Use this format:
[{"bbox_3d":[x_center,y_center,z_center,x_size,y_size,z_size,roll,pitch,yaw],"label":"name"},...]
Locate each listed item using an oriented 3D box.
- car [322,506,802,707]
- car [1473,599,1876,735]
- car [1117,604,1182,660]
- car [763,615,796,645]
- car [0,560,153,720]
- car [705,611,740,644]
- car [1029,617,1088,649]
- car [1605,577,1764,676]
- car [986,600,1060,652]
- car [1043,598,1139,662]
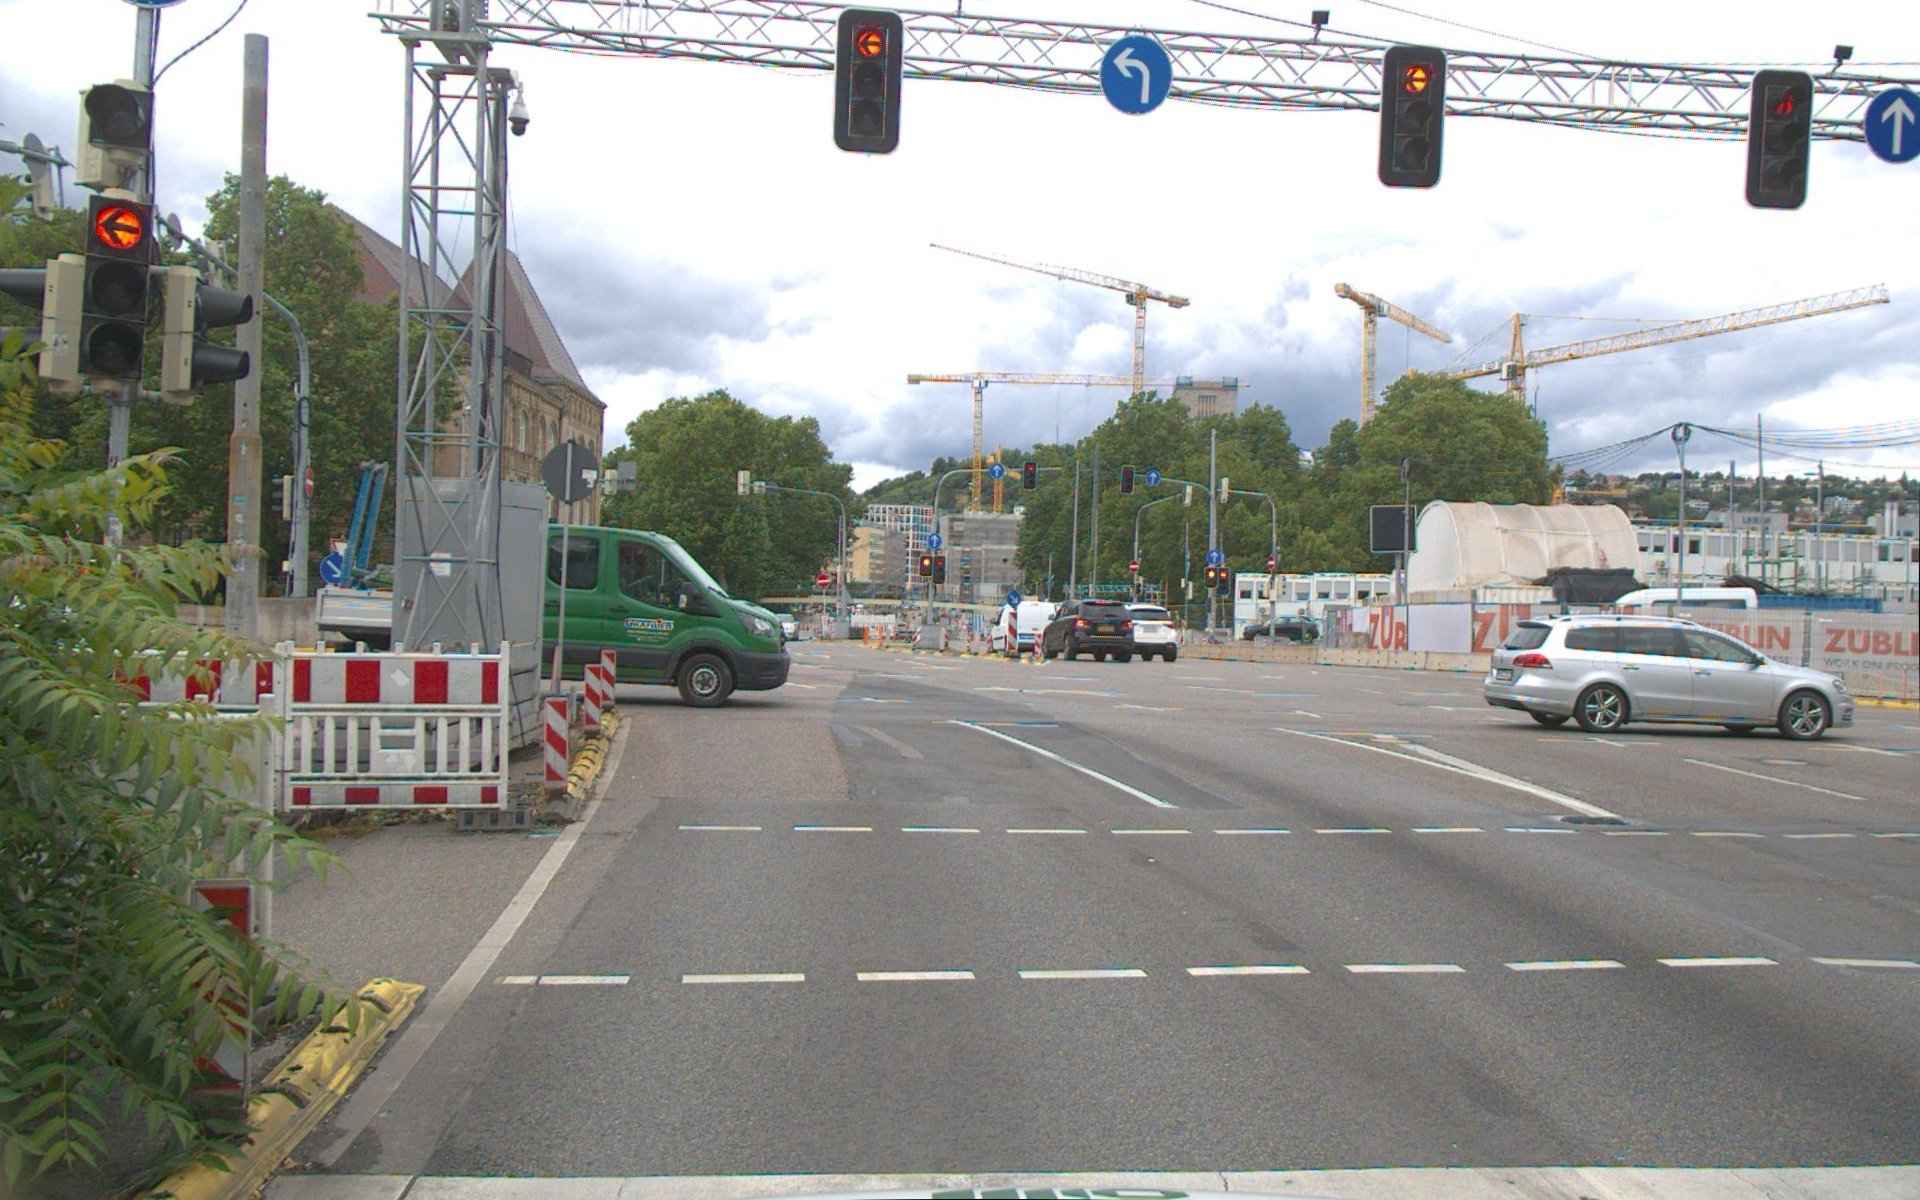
[{"bbox_3d":[-4.892,0.100,21.202,5.647,2.345,2.301,1,0,-6],"label":"car"},{"bbox_3d":[9.329,0.860,21.794,4.616,1.653,1.680,1,0,-3],"label":"car"},{"bbox_3d":[6.045,0.998,53.127,1.642,1.732,3.374,1,0,-1],"label":"car"},{"bbox_3d":[-9.288,1.528,84.864,1.644,1.422,3.677,1,0,-7],"label":"car"},{"bbox_3d":[-12.620,0.456,20.610,4.188,1.915,1.826,1,0,-9],"label":"car"},{"bbox_3d":[-12.119,1.385,84.517,1.644,1.608,3.677,1,0,-7],"label":"car"},{"bbox_3d":[4.516,1.511,76.038,1.650,1.422,3.070,1,0,-19],"label":"car"},{"bbox_3d":[20.827,0.744,47.680,3.902,2.708,1.683,1,0,13],"label":"car"},{"bbox_3d":[2.085,0.852,55.549,1.783,1.653,3.993,1,0,-8],"label":"car"},{"bbox_3d":[3.782,0.842,48.529,1.799,1.776,4.245,1,0,-10],"label":"car"}]
